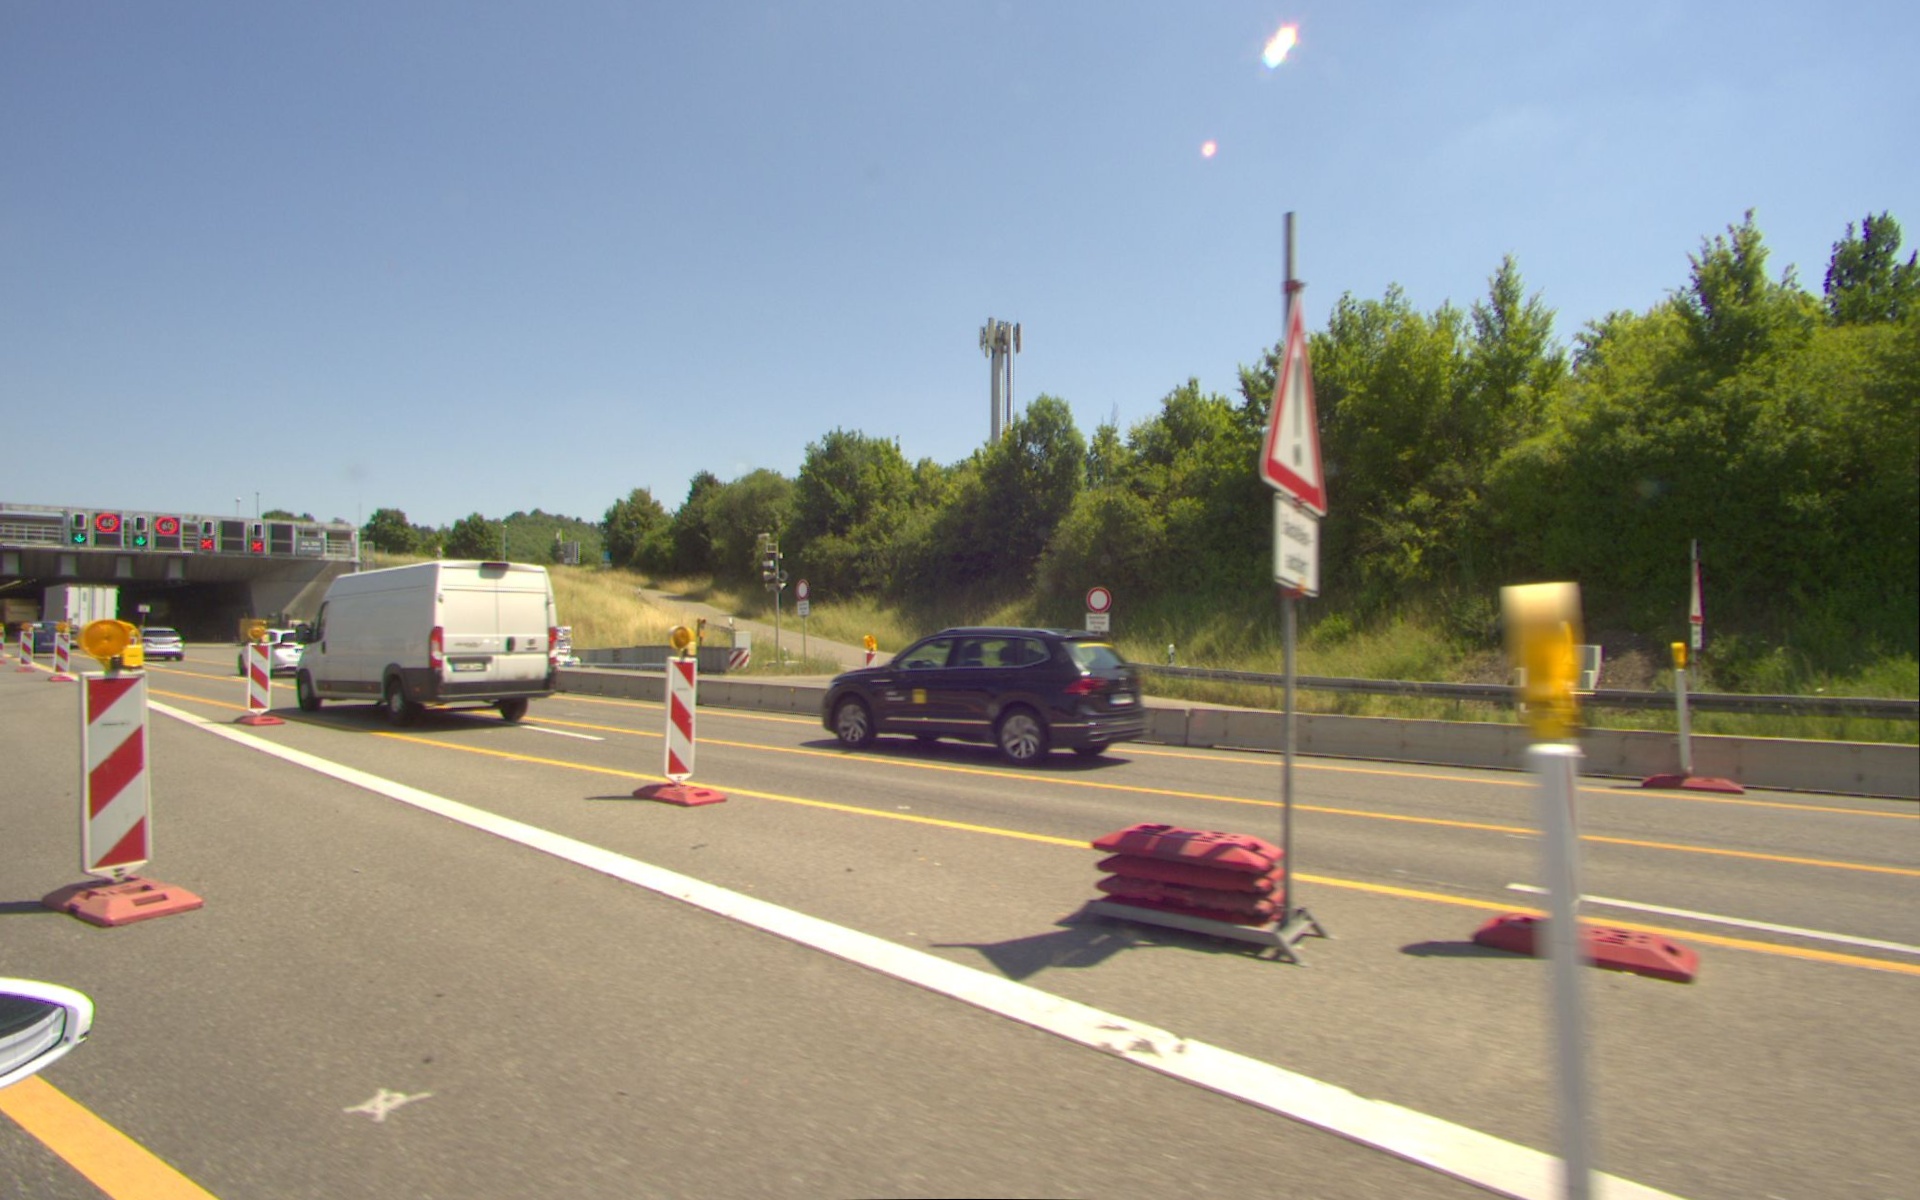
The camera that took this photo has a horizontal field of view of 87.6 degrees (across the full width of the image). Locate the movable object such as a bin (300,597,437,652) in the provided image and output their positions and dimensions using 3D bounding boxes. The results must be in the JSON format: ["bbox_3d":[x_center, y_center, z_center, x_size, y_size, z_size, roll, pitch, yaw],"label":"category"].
[{"bbox_3d":[-37.095,1.533,62.364,14.537,3.050,3.095,-2,0,42],"label":"movable object such as a bin"}]

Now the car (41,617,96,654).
[{"bbox_3d":[-42.209,1.691,47.375,1.803,1.663,4.609,2,-3,-43],"label":"car"}]

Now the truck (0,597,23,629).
[{"bbox_3d":[-134.090,1.863,139.757,16.354,4.122,3.386,-2,-3,42],"label":"truck"}]

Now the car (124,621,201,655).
[{"bbox_3d":[-36.299,1.746,45.544,4.597,1.483,1.808,-2,-3,40],"label":"car"}]

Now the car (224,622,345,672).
[{"bbox_3d":[-21.303,1.531,31.536,4.596,1.482,1.809,-3,-4,38],"label":"car"}]

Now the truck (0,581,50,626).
[{"bbox_3d":[-105.583,0.523,112.400,16.356,4.388,3.386,-3,-4,42],"label":"truck"}]

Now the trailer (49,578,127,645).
[{"bbox_3d":[-59.293,0.955,67.913,13.949,4.113,2.718,-2,-3,44],"label":"trailer"}]

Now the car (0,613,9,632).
[{"bbox_3d":[-89.077,2.083,92.083,4.139,1.650,1.808,-2,-3,39],"label":"car"}]

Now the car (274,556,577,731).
[{"bbox_3d":[-9.558,0.731,17.606,6.503,2.568,2.258,-1,-2,38],"label":"car"}]

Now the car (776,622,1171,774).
[{"bbox_3d":[0.039,1.174,13.539,5.170,1.683,2.013,-1,-2,37],"label":"car"}]
